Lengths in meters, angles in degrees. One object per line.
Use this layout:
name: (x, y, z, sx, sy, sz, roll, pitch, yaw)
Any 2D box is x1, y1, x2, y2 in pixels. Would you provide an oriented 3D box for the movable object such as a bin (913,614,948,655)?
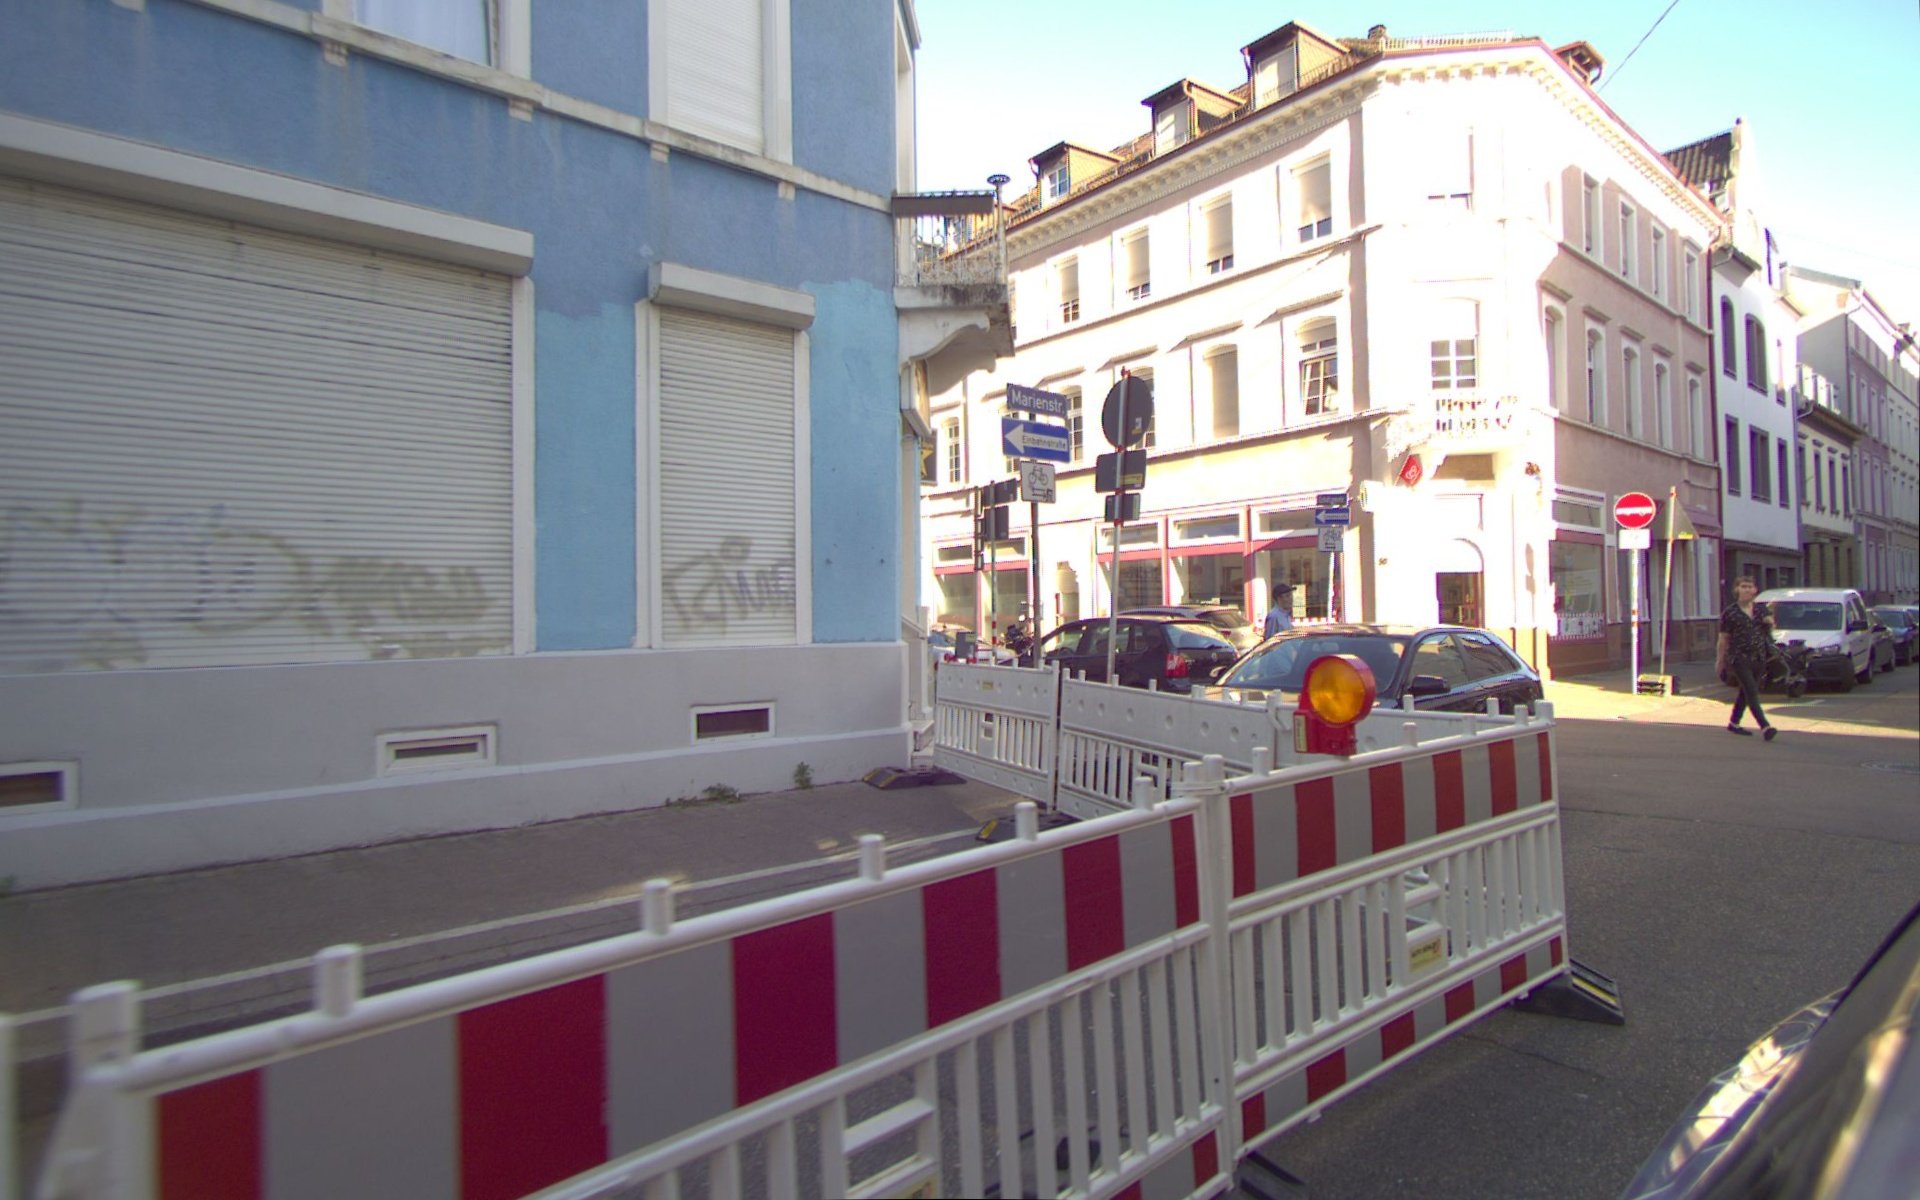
movable object such as a bin: (-0.852, 0.996, 29.276, 0.655, 1.131, 0.716, -1, -3, -39)

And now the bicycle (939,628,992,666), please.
bicycle: (0.133, 1.305, 28.040, 0.448, 1.022, 1.641, 0, -3, -42)

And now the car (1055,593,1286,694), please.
car: (3.956, 0.818, 19.584, 1.823, 1.653, 4.066, -3, 0, -39)

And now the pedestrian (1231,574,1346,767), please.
pedestrian: (3.372, 0.700, 10.387, 0.767, 1.873, 0.769, 0, -3, -44)

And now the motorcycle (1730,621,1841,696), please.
motorcycle: (13.569, 0.929, 16.626, 1.956, 1.100, 0.722, -1, -1, -29)

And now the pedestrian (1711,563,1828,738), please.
pedestrian: (8.864, 0.513, 11.131, 0.821, 1.815, 0.980, 0, 1, 29)

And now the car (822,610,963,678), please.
car: (-1.858, 1.158, 26.865, 1.721, 1.531, 3.910, -5, 1, -39)

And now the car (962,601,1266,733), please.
car: (1.891, 0.825, 13.450, 1.647, 1.472, 3.874, 0, -2, -39)

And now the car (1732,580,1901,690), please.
car: (16.126, 0.556, 18.979, 4.293, 1.839, 1.751, -1, 0, -41)

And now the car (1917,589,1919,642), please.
car: (33.821, 0.474, 34.213, 4.331, 1.753, 1.712, -1, 0, -41)

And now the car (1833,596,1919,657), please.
car: (24.159, 0.635, 26.250, 3.813, 1.413, 1.735, -1, 0, -41)

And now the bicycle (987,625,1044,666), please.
bicycle: (1.456, 1.206, 26.835, 0.448, 1.022, 1.641, 0, -2, -42)

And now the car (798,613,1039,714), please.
car: (-0.834, 1.008, 16.827, 1.724, 1.453, 4.479, 2, -3, -38)

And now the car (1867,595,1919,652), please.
car: (27.593, 0.628, 29.204, 3.706, 1.523, 1.619, -1, 0, -41)

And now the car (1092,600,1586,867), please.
car: (3.007, 0.780, 7.646, 3.963, 1.453, 1.774, -1, -2, -41)

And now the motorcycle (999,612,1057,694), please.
motorcycle: (1.463, 1.145, 22.304, 0.834, 1.670, 2.337, -2, -2, -6)

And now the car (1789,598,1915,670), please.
car: (20.101, 0.701, 22.767, 3.814, 1.426, 1.611, -1, 0, -41)
